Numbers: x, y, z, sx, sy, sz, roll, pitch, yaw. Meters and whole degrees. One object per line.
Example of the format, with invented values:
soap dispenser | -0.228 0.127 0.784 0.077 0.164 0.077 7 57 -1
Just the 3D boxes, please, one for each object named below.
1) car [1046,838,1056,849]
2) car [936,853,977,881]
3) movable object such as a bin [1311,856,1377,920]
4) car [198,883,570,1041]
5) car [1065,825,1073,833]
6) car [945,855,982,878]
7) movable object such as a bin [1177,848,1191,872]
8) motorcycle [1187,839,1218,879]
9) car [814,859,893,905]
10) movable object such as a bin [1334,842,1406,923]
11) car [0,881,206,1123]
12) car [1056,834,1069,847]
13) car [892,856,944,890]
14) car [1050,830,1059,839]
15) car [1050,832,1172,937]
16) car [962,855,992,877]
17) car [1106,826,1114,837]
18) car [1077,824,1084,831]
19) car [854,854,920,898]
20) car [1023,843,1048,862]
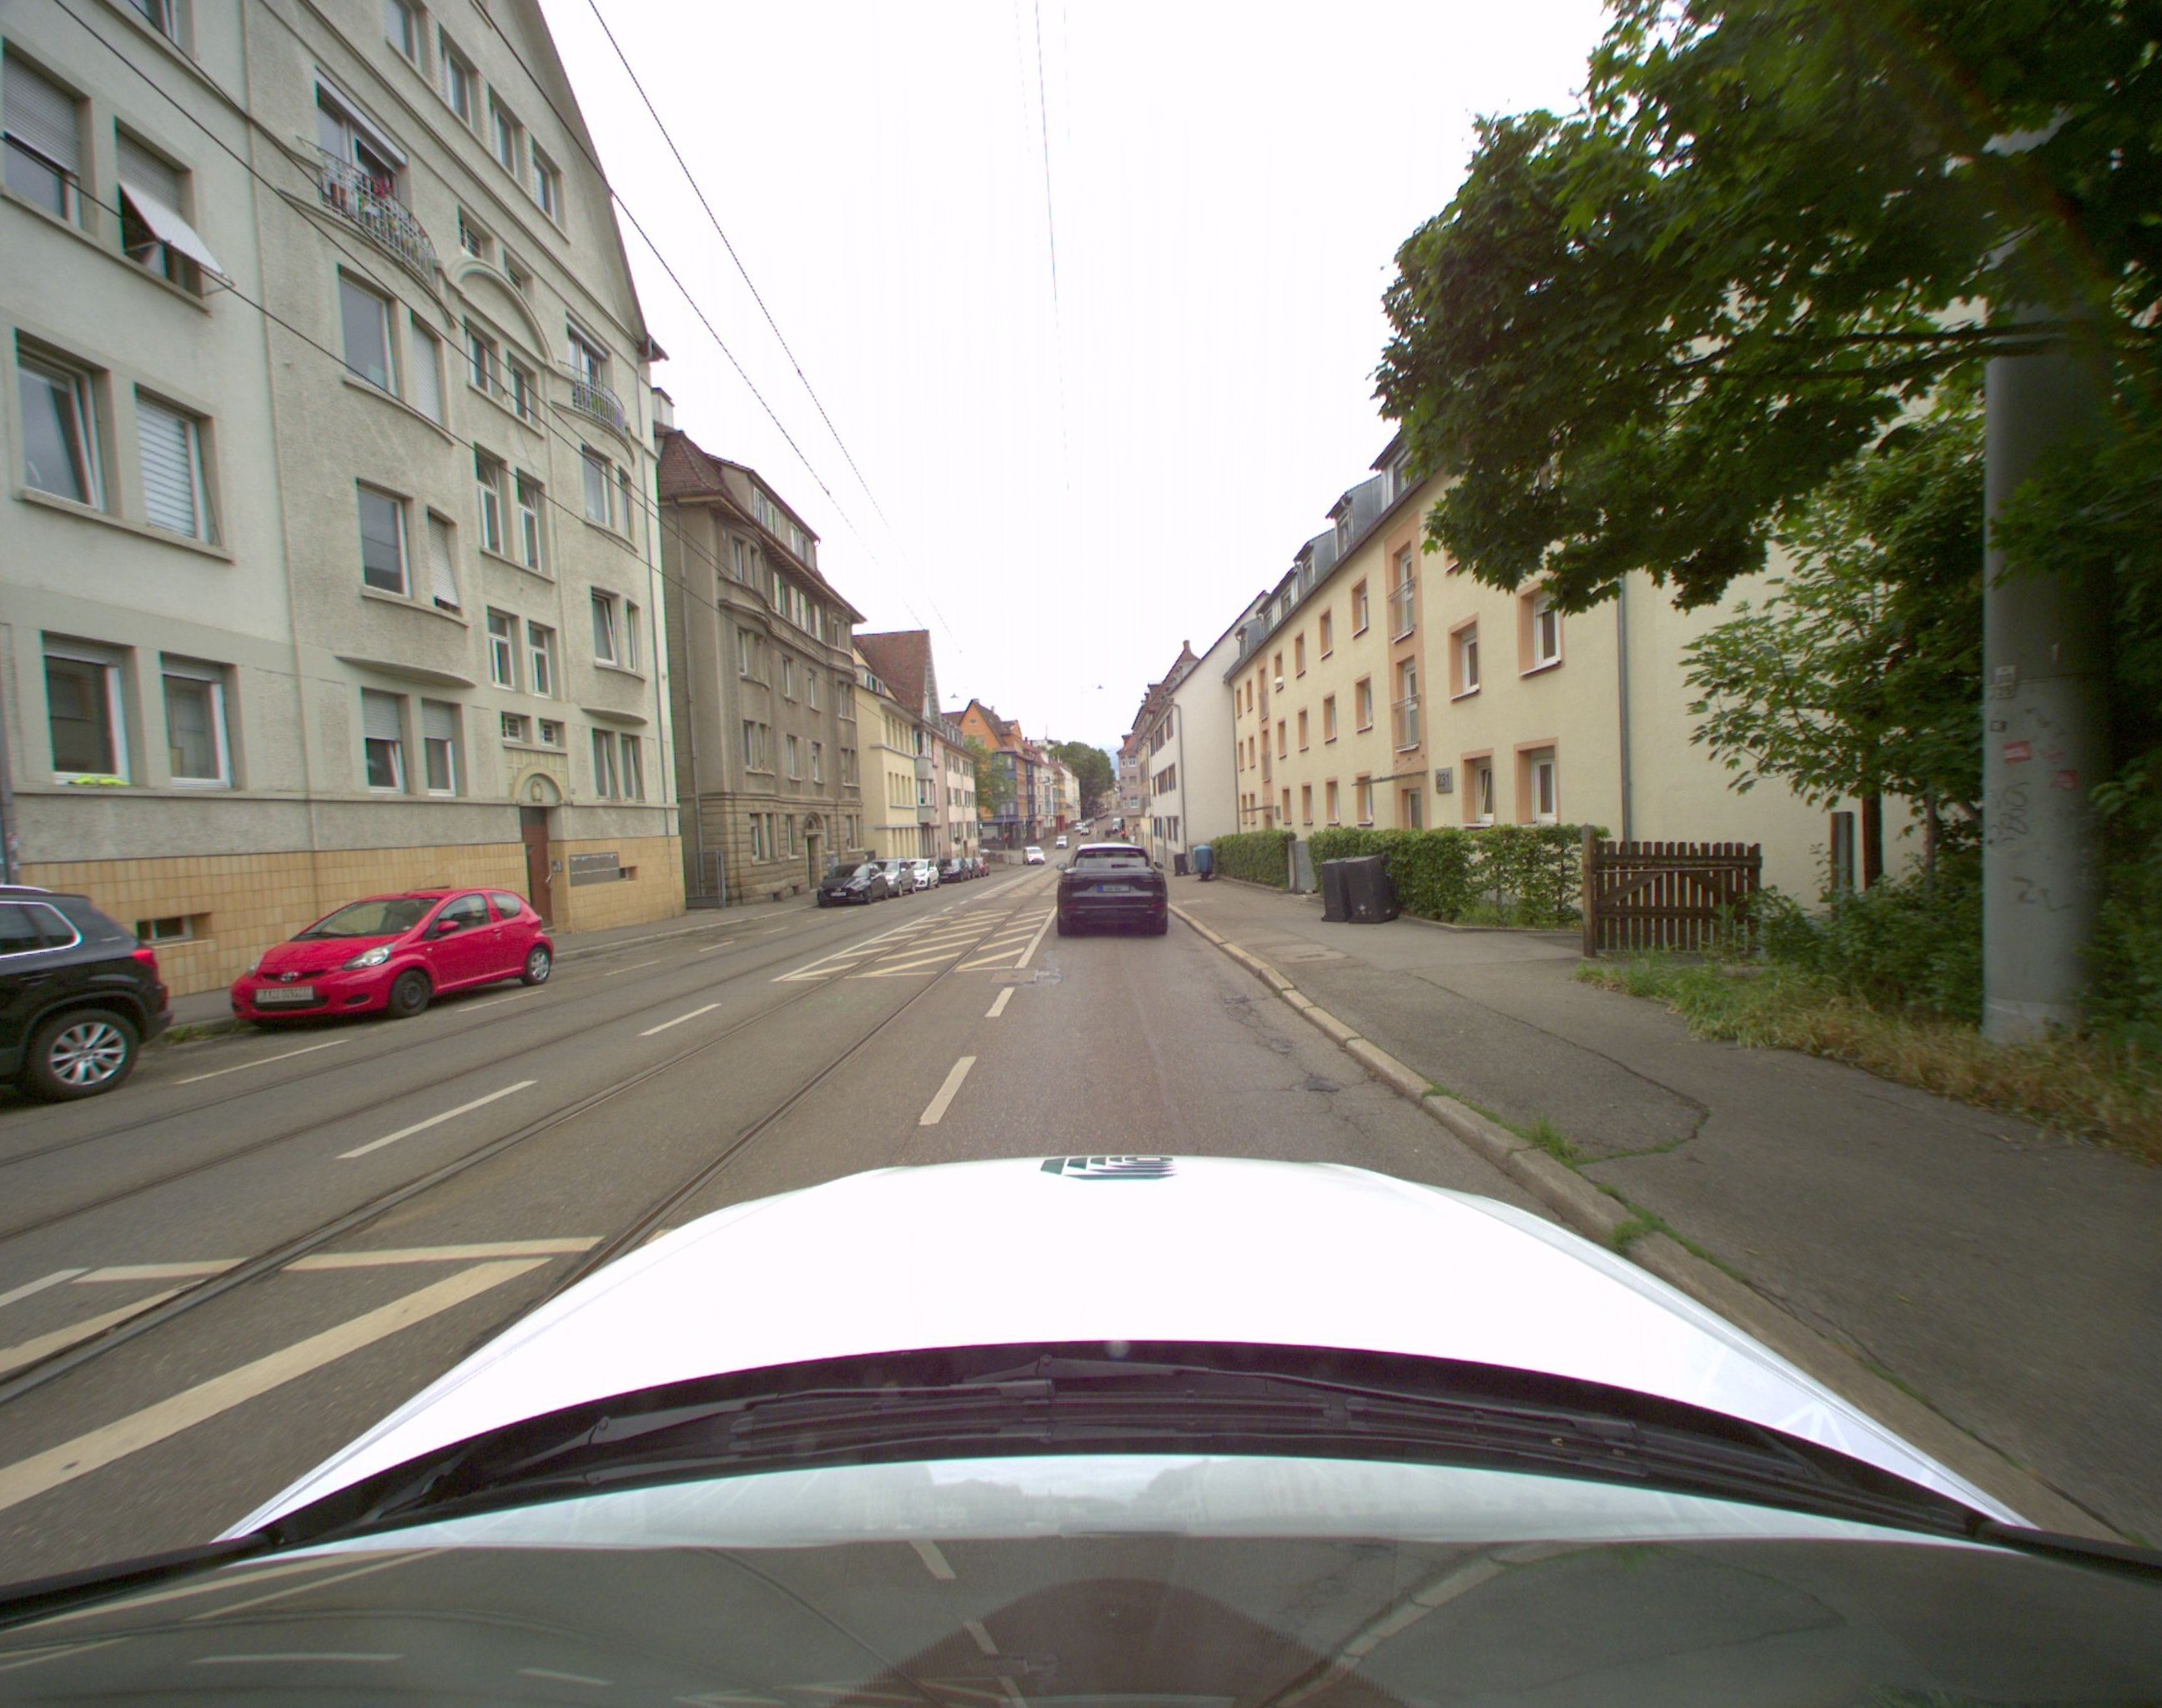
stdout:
car | -4.935 -1.685 133.302 1.389 1.722 3.360 -3 0 2
car | -7.303 0.752 48.090 1.616 1.473 4.554 -4 -1 0
movable object such as a bin | 4.423 0.559 13.755 0.790 1.012 0.788 -3 0 -3
car | -8.541 1.204 10.485 1.617 1.463 3.741 -4 -1 -3
car | -2.521 -5.146 167.273 1.389 1.450 3.360 -3 0 2
car | -7.766 0.803 54.122 1.730 1.410 4.001 -3 0 1
movable object such as a bin | 4.888 0.291 38.734 0.586 1.080 0.692 -3 0 3
motorcycle | 4.726 0.176 31.858 0.835 1.456 2.554 -3 0 2
car | -8.083 0.960 29.259 1.616 1.463 4.032 -4 -1 0
movable object such as a bin | 4.579 0.440 12.956 0.790 1.218 0.788 -3 0 -3
car | -8.478 1.095 4.776 1.862 1.646 4.401 -4 -1 0
car | -2.827 -2.047 124.332 1.744 1.759 4.255 -3 0 2
car | -7.931 0.894 39.849 1.615 1.463 3.686 -4 -1 1
car | -4.808 -3.553 146.354 1.389 1.450 3.360 -3 0 2
car | 0.535 0.519 15.767 1.987 1.676 4.000 -3 0 1
car | -7.622 0.868 59.841 1.616 1.490 4.046 -4 -1 0
car | 5.165 -4.020 146.431 1.389 1.722 3.360 -3 0 2
car | -0.091 -6.046 183.833 1.389 1.450 3.360 -3 0 2
car | -7.997 0.880 33.863 1.616 1.604 4.350 -4 -1 0
car | -4.764 -0.096 84.526 1.923 1.818 4.199 -3 0 -12
